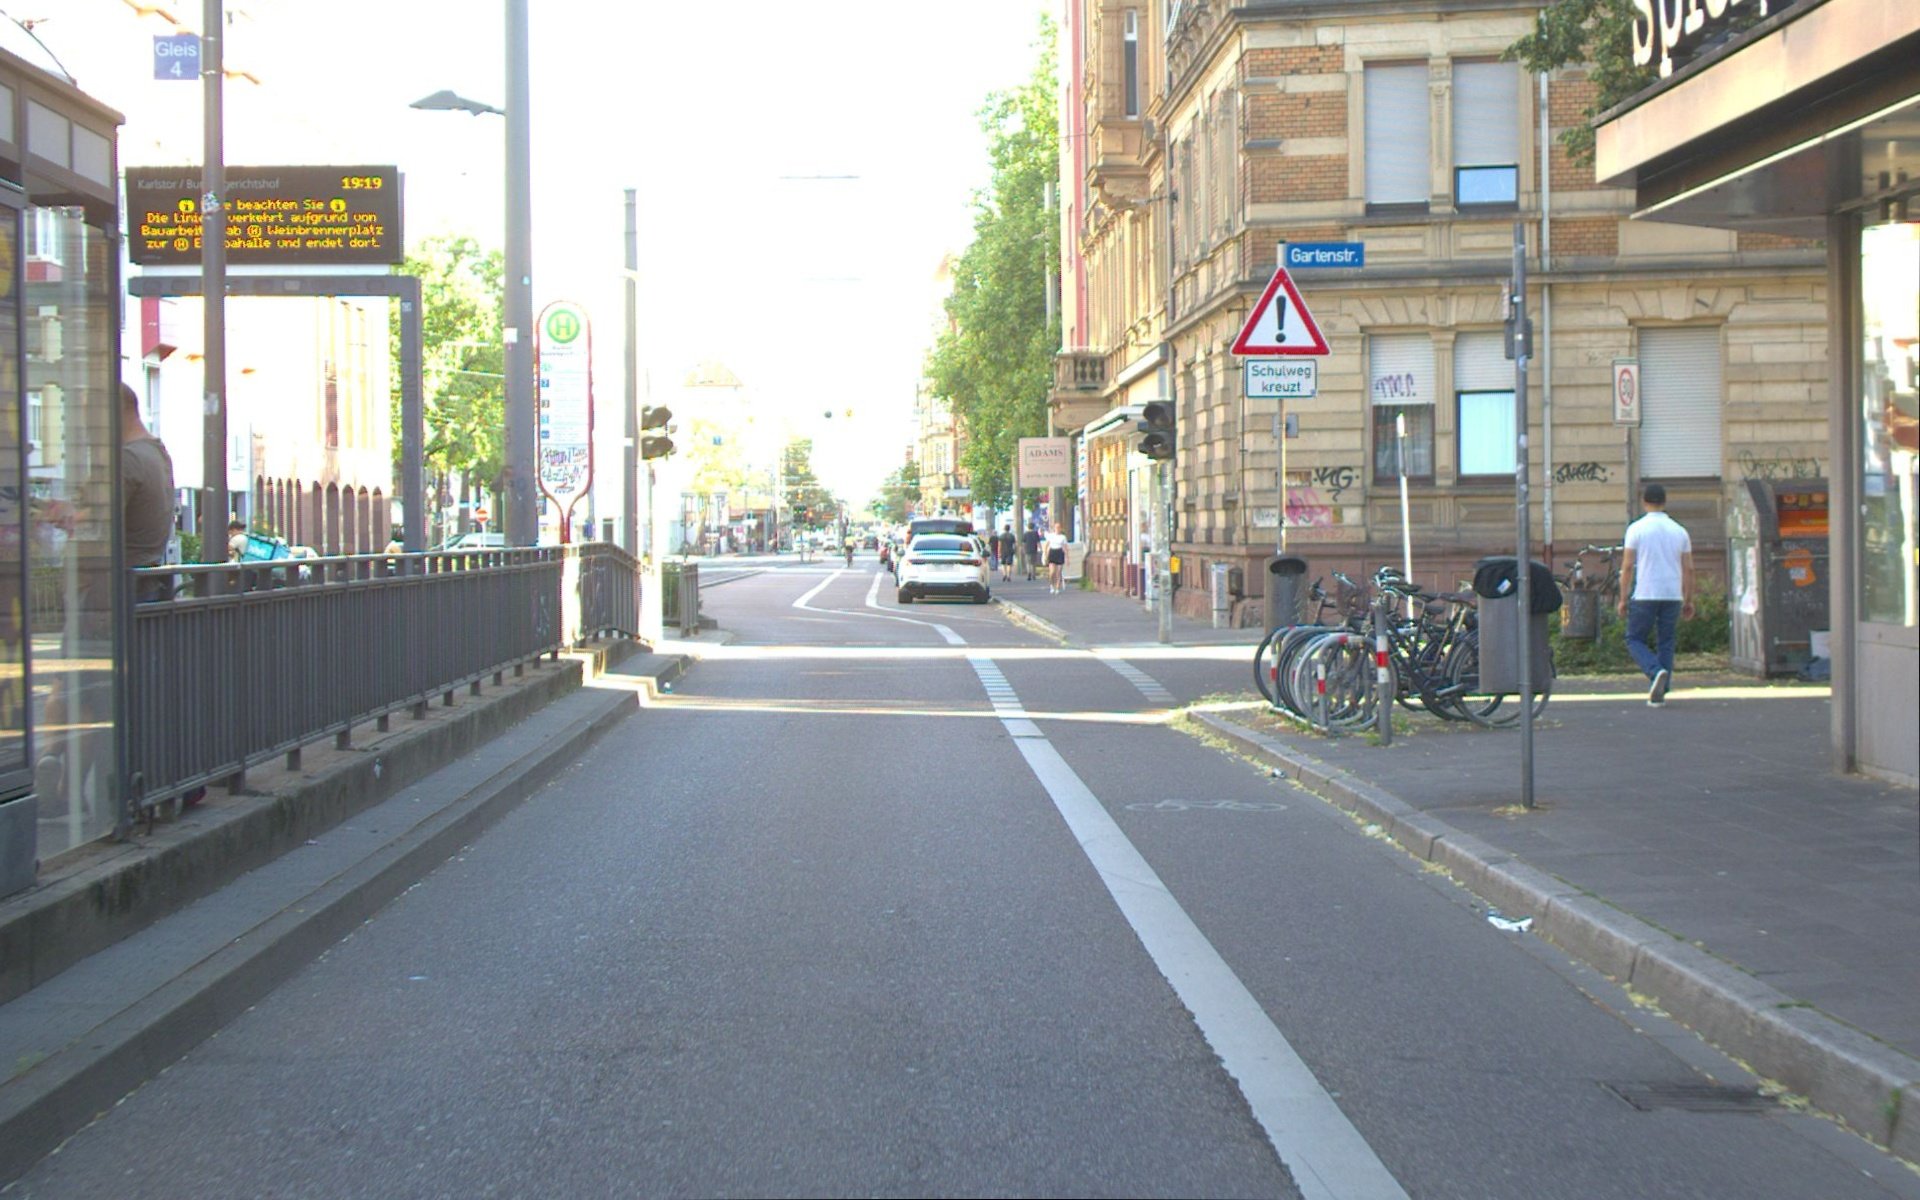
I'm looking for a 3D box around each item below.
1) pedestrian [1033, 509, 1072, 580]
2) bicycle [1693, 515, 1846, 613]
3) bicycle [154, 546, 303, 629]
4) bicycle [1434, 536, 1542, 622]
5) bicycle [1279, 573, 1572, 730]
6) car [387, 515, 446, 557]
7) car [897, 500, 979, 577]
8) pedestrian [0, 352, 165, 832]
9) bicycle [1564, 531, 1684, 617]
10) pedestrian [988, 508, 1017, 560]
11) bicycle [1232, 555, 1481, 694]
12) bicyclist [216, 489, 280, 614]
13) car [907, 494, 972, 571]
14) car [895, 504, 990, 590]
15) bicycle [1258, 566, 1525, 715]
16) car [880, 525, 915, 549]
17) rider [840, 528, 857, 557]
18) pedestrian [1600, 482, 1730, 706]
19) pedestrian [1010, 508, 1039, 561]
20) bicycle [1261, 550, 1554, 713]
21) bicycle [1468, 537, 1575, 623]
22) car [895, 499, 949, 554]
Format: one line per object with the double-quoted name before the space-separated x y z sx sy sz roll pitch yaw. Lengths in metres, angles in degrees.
"pedestrian" 2.103 -1.268 78.325 0.776 1.561 0.914 -4 1 2
"bicycle" 9.958 -0.456 42.349 0.613 1.178 2.107 -1 2 -27
"bicycle" -10.054 -0.178 47.288 1.893 1.074 0.584 2 1 1
"bicycle" 6.466 -0.270 42.207 0.451 1.021 1.908 -1 2 -20
"bicycle" 3.213 0.350 23.803 1.913 1.044 0.681 0 1 -4
"car" -20.781 -2.454 131.632 1.869 1.594 4.255 0 1 -4
"car" -0.541 -1.552 86.215 1.955 1.862 4.989 1 1 0
"pedestrian" -3.338 -0.039 12.668 0.622 1.706 0.850 -1 1 -2
"bicycle" 8.157 -0.333 42.314 0.495 1.021 1.908 -1 2 -22
"pedestrian" 1.314 -2.028 105.558 0.776 1.561 0.914 -4 1 0
"bicycle" 3.087 0.182 26.859 1.833 1.050 0.710 0 1 -4
"bicyclist" -9.787 -0.674 47.248 0.743 1.706 0.534 0 1 1
"car" -0.548 -1.884 96.939 1.705 2.112 3.706 0 1 2
"car" -0.381 -1.148 74.212 1.966 1.765 4.876 1 1 0
"bicycle" 3.150 0.286 25.187 1.833 1.050 0.718 0 1 -4
"car" -3.838 -3.845 210.275 2.065 1.384 4.225 2 1 -2
"rider" -5.836 -3.007 179.997 0.883 1.476 0.713 1 1 0
"pedestrian" 5.415 -0.061 26.460 0.783 1.660 1.033 0 3 0
"pedestrian" 1.976 -2.006 105.562 0.776 1.561 0.914 -4 1 0
"bicycle" 3.177 0.216 24.456 1.970 1.101 0.614 -1 1 -4
"bicycle" 6.877 -0.255 42.212 0.417 1.021 1.908 -1 2 -20
"car" -1.462 -2.835 131.955 1.971 2.007 4.558 -2 1 0
